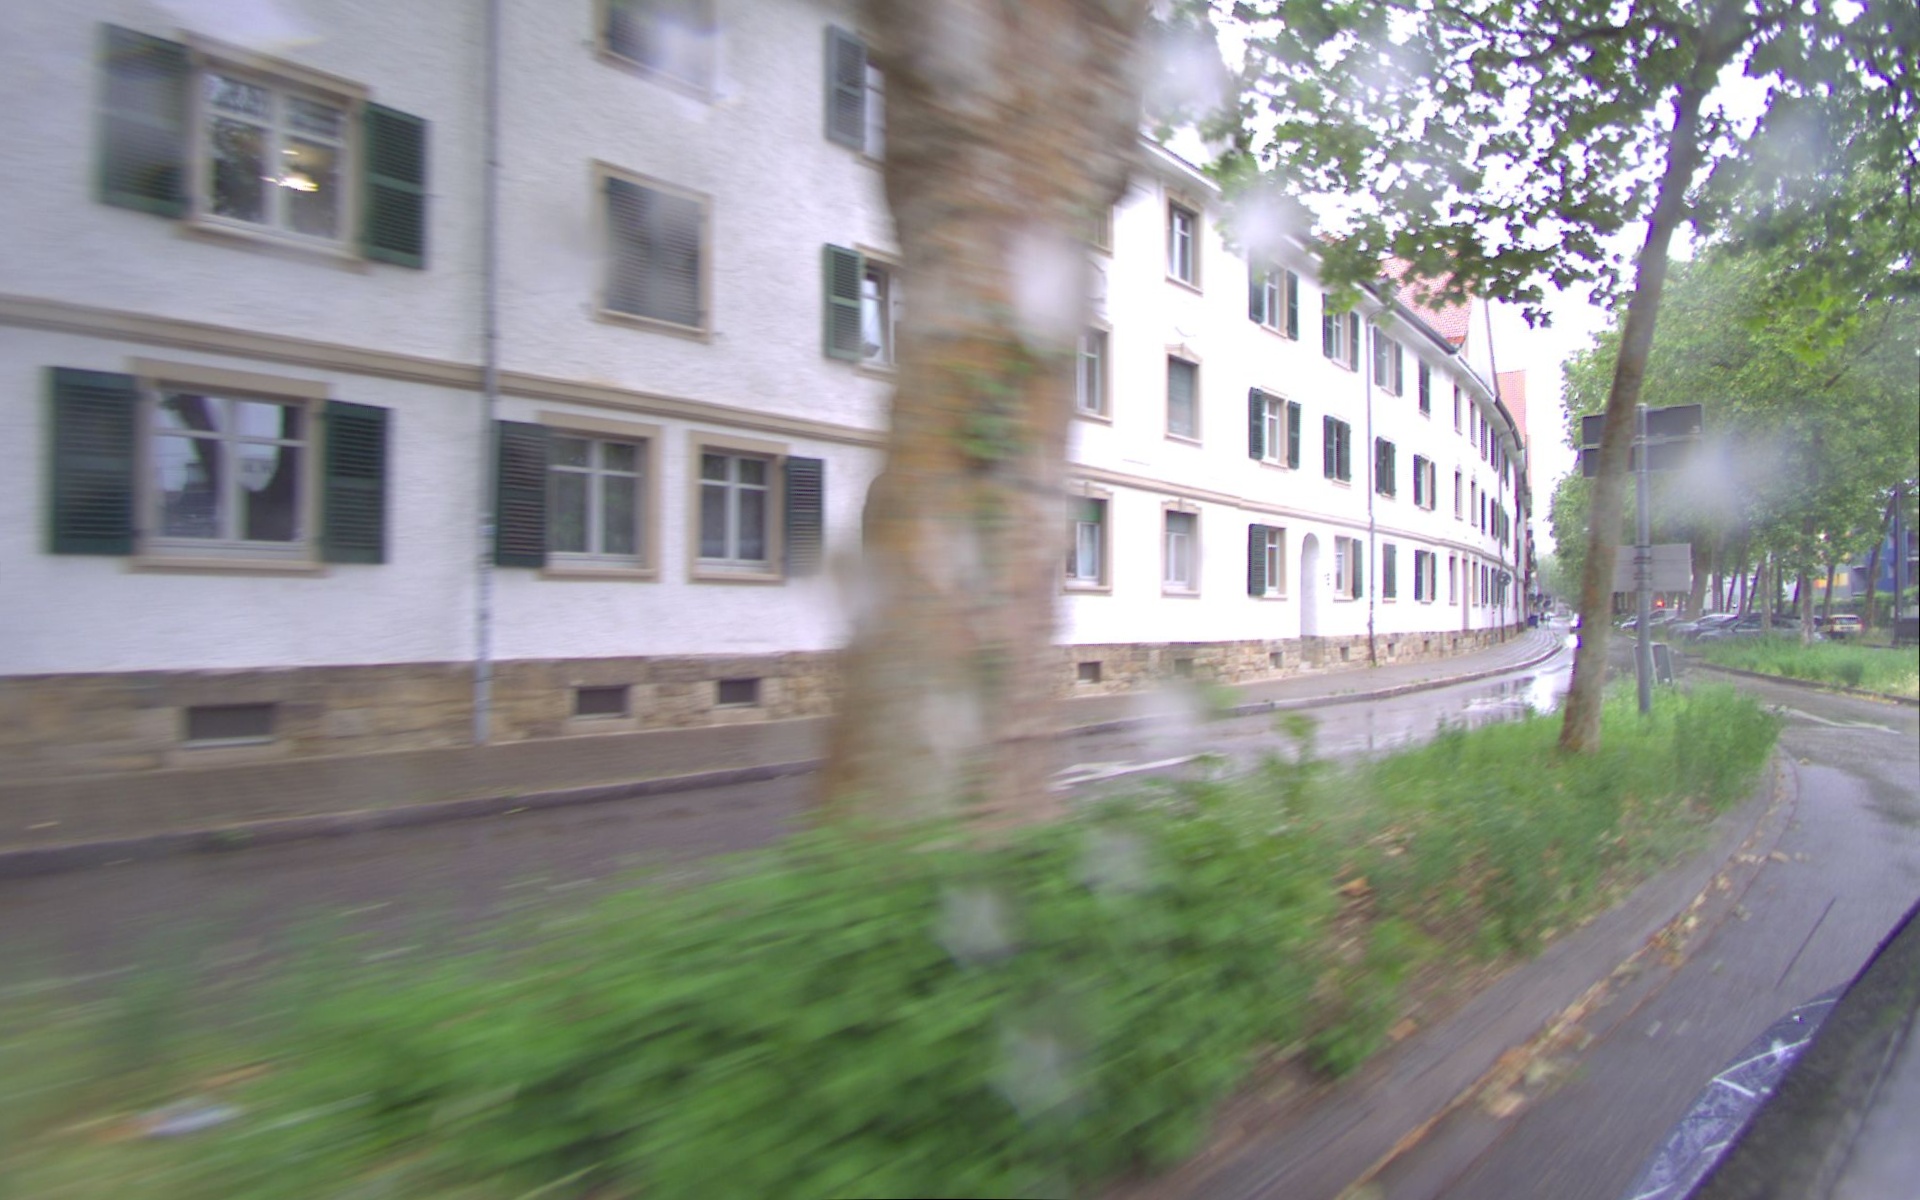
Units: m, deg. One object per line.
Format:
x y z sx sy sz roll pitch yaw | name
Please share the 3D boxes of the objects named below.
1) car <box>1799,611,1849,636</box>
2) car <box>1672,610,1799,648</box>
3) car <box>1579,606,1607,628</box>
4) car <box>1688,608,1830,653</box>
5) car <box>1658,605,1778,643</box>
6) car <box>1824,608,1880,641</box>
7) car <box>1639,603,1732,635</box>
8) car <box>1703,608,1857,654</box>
54.981 1.453 64.469 1.679 1.466 3.958 2 1 30 | car
35.648 1.298 46.641 1.712 1.526 4.341 1 1 -26 | car
49.466 1.300 79.085 1.839 1.616 4.166 0 0 33 | car
32.644 1.215 41.483 1.713 1.630 4.237 1 1 -28 | car
36.752 1.114 49.180 1.714 1.633 4.336 1 1 -33 | car
50.993 1.384 57.917 1.679 1.745 3.653 2 1 30 | car
50.582 1.277 70.695 1.959 2.039 4.900 1 1 -28 | car
31.678 1.160 39.244 1.891 1.560 4.237 1 1 -28 | car
